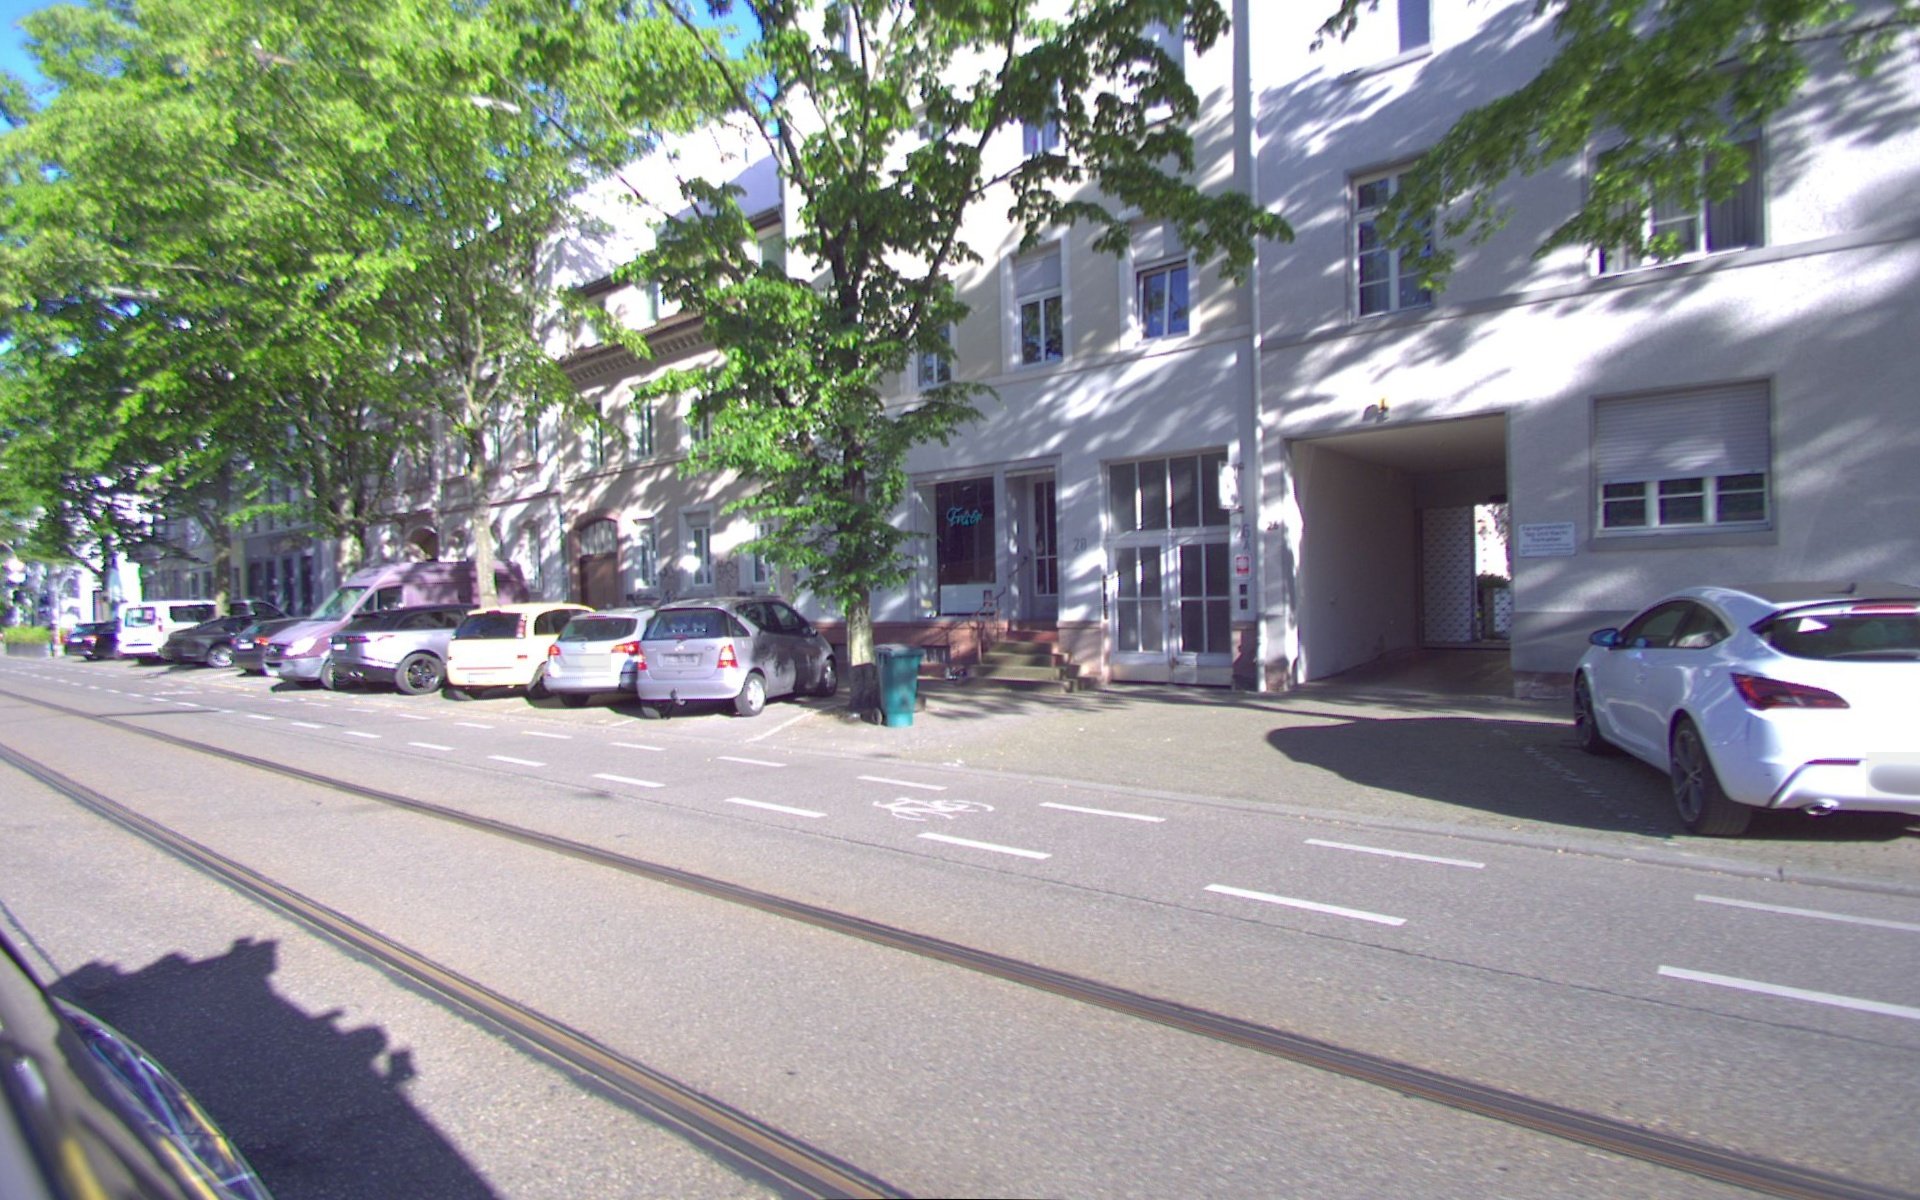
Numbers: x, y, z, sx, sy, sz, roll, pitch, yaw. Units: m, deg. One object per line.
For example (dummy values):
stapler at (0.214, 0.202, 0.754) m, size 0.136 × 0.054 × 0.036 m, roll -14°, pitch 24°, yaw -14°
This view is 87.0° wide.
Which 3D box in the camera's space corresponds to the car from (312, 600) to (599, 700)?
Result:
car at (-10.120, 0.921, 20.636) m, size 2.160 × 1.737 × 4.783 m, roll -2°, pitch 0°, yaw 37°

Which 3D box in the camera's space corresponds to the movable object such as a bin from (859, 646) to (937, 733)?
movable object such as a bin at (-0.734, 1.041, 11.938) m, size 0.669 × 0.952 × 0.615 m, roll -1°, pitch 0°, yaw 39°

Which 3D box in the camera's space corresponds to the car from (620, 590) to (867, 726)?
car at (-2.977, 0.730, 14.811) m, size 1.689 × 1.689 × 3.974 m, roll -2°, pitch 0°, yaw 20°

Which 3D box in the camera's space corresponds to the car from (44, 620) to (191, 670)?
car at (-31.003, 1.635, 37.408) m, size 1.762 × 1.569 × 3.988 m, roll -1°, pitch 1°, yaw 10°

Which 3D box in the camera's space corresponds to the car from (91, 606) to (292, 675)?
car at (-24.472, 1.228, 32.485) m, size 2.056 × 2.029 × 4.914 m, roll -1°, pitch -1°, yaw 16°

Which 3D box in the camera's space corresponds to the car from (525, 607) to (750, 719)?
car at (-5.017, 0.973, 16.423) m, size 1.684 × 1.564 × 4.156 m, roll 0°, pitch -2°, yaw 11°

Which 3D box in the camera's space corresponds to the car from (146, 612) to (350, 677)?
car at (-21.362, 1.291, 30.557) m, size 1.950 × 1.588 × 4.654 m, roll -2°, pitch 1°, yaw 35°

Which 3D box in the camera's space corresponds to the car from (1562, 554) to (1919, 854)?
car at (5.687, 0.494, 7.065) m, size 1.872 × 1.541 × 3.624 m, roll -1°, pitch 2°, yaw 20°

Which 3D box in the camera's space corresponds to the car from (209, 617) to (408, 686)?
car at (-16.762, 1.266, 26.261) m, size 1.661 × 1.464 × 4.066 m, roll -1°, pitch 1°, yaw 24°

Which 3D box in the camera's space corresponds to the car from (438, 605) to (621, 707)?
car at (-7.590, 0.928, 18.175) m, size 1.370 × 1.564 × 3.363 m, roll -1°, pitch 1°, yaw 11°

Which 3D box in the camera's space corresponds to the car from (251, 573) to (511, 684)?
car at (-12.409, 0.539, 21.939) m, size 2.160 × 2.134 × 4.395 m, roll -2°, pitch 0°, yaw 37°

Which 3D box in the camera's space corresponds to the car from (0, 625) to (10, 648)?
car at (-64.527, 2.447, 66.250) m, size 1.496 × 1.464 × 3.292 m, roll 0°, pitch 2°, yaw 43°
